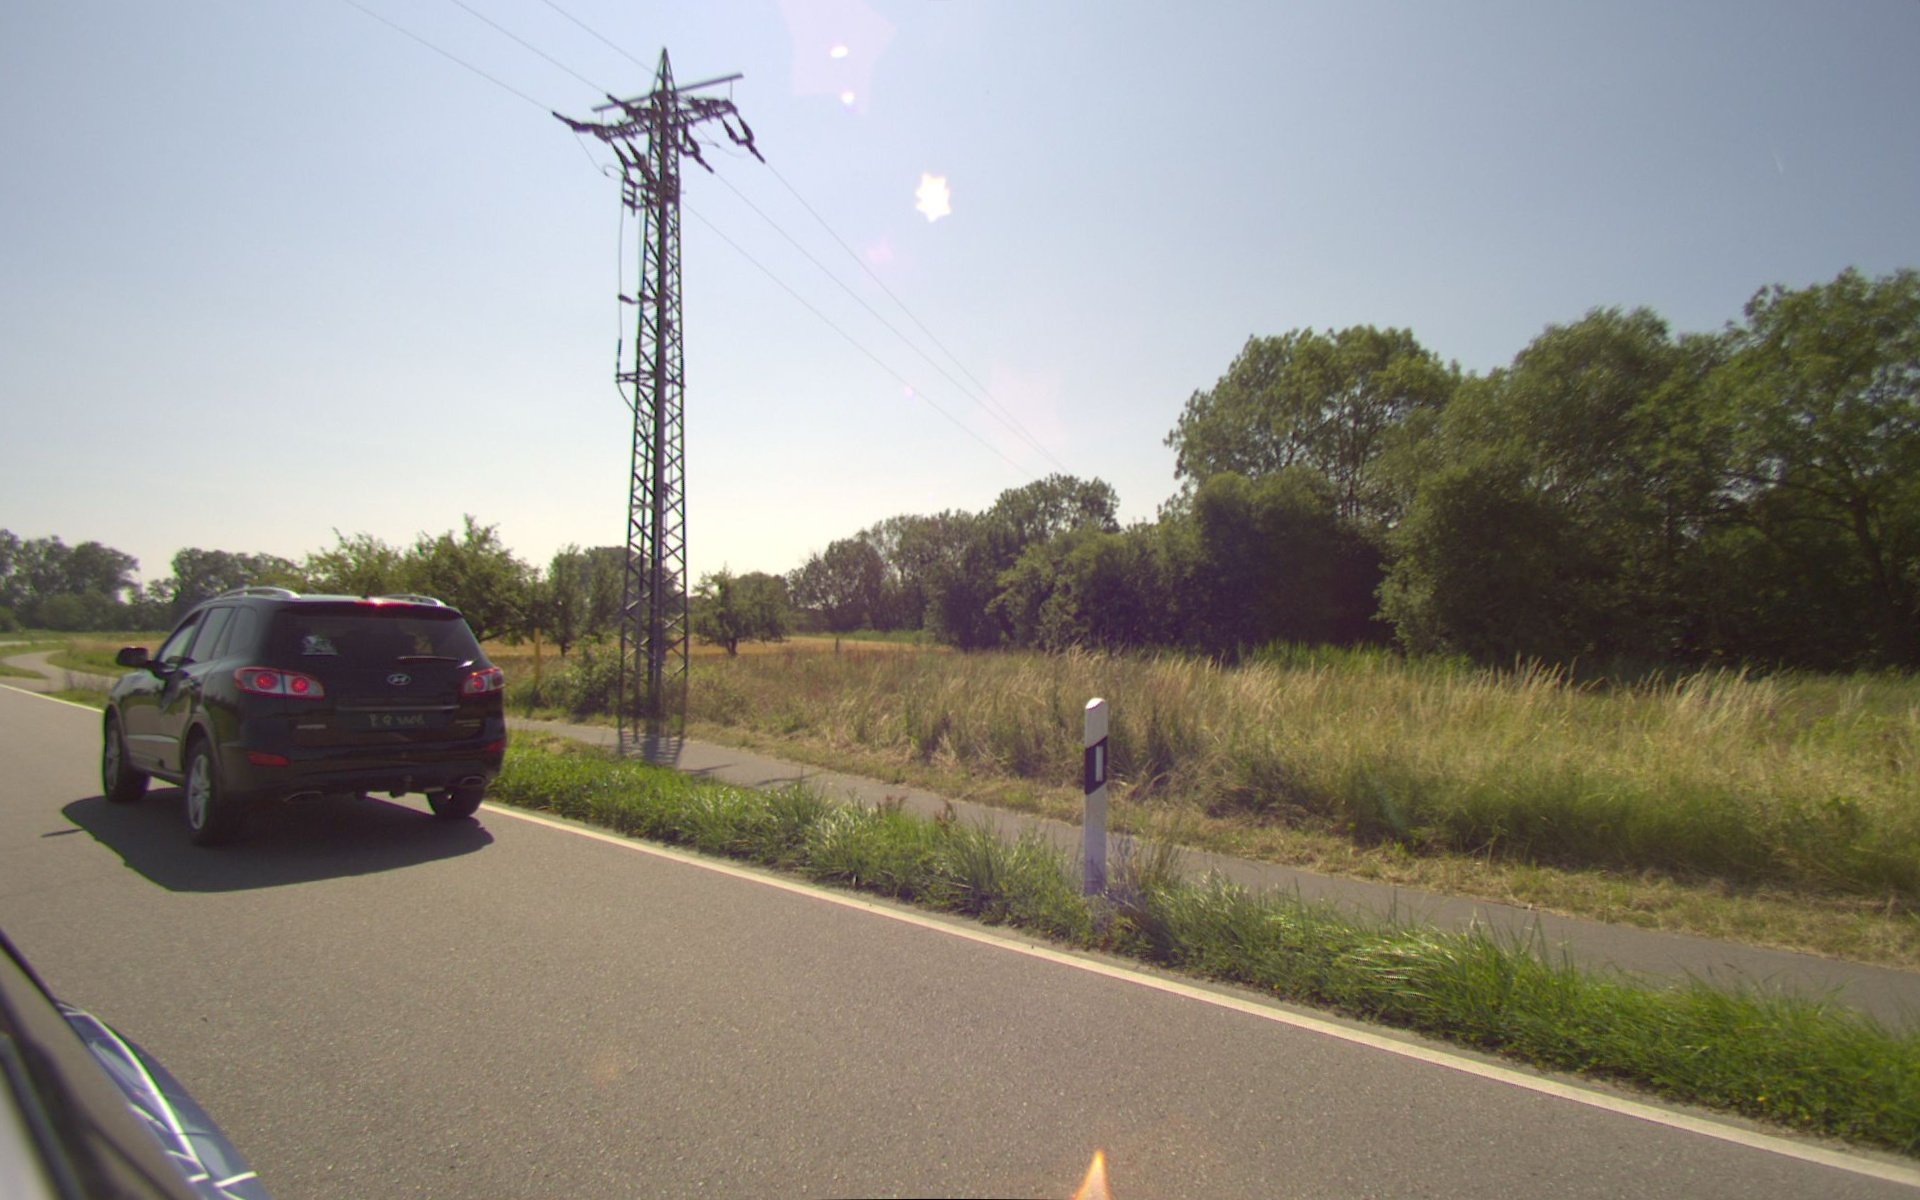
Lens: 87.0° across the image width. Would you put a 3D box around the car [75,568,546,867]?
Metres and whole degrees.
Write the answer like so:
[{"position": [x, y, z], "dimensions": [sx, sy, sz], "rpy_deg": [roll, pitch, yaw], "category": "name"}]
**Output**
[{"position": [-5.328, 0.789, 8.096], "dimensions": [4.292, 1.766, 1.847], "rpy_deg": [-1, -4, 39], "category": "car"}]
